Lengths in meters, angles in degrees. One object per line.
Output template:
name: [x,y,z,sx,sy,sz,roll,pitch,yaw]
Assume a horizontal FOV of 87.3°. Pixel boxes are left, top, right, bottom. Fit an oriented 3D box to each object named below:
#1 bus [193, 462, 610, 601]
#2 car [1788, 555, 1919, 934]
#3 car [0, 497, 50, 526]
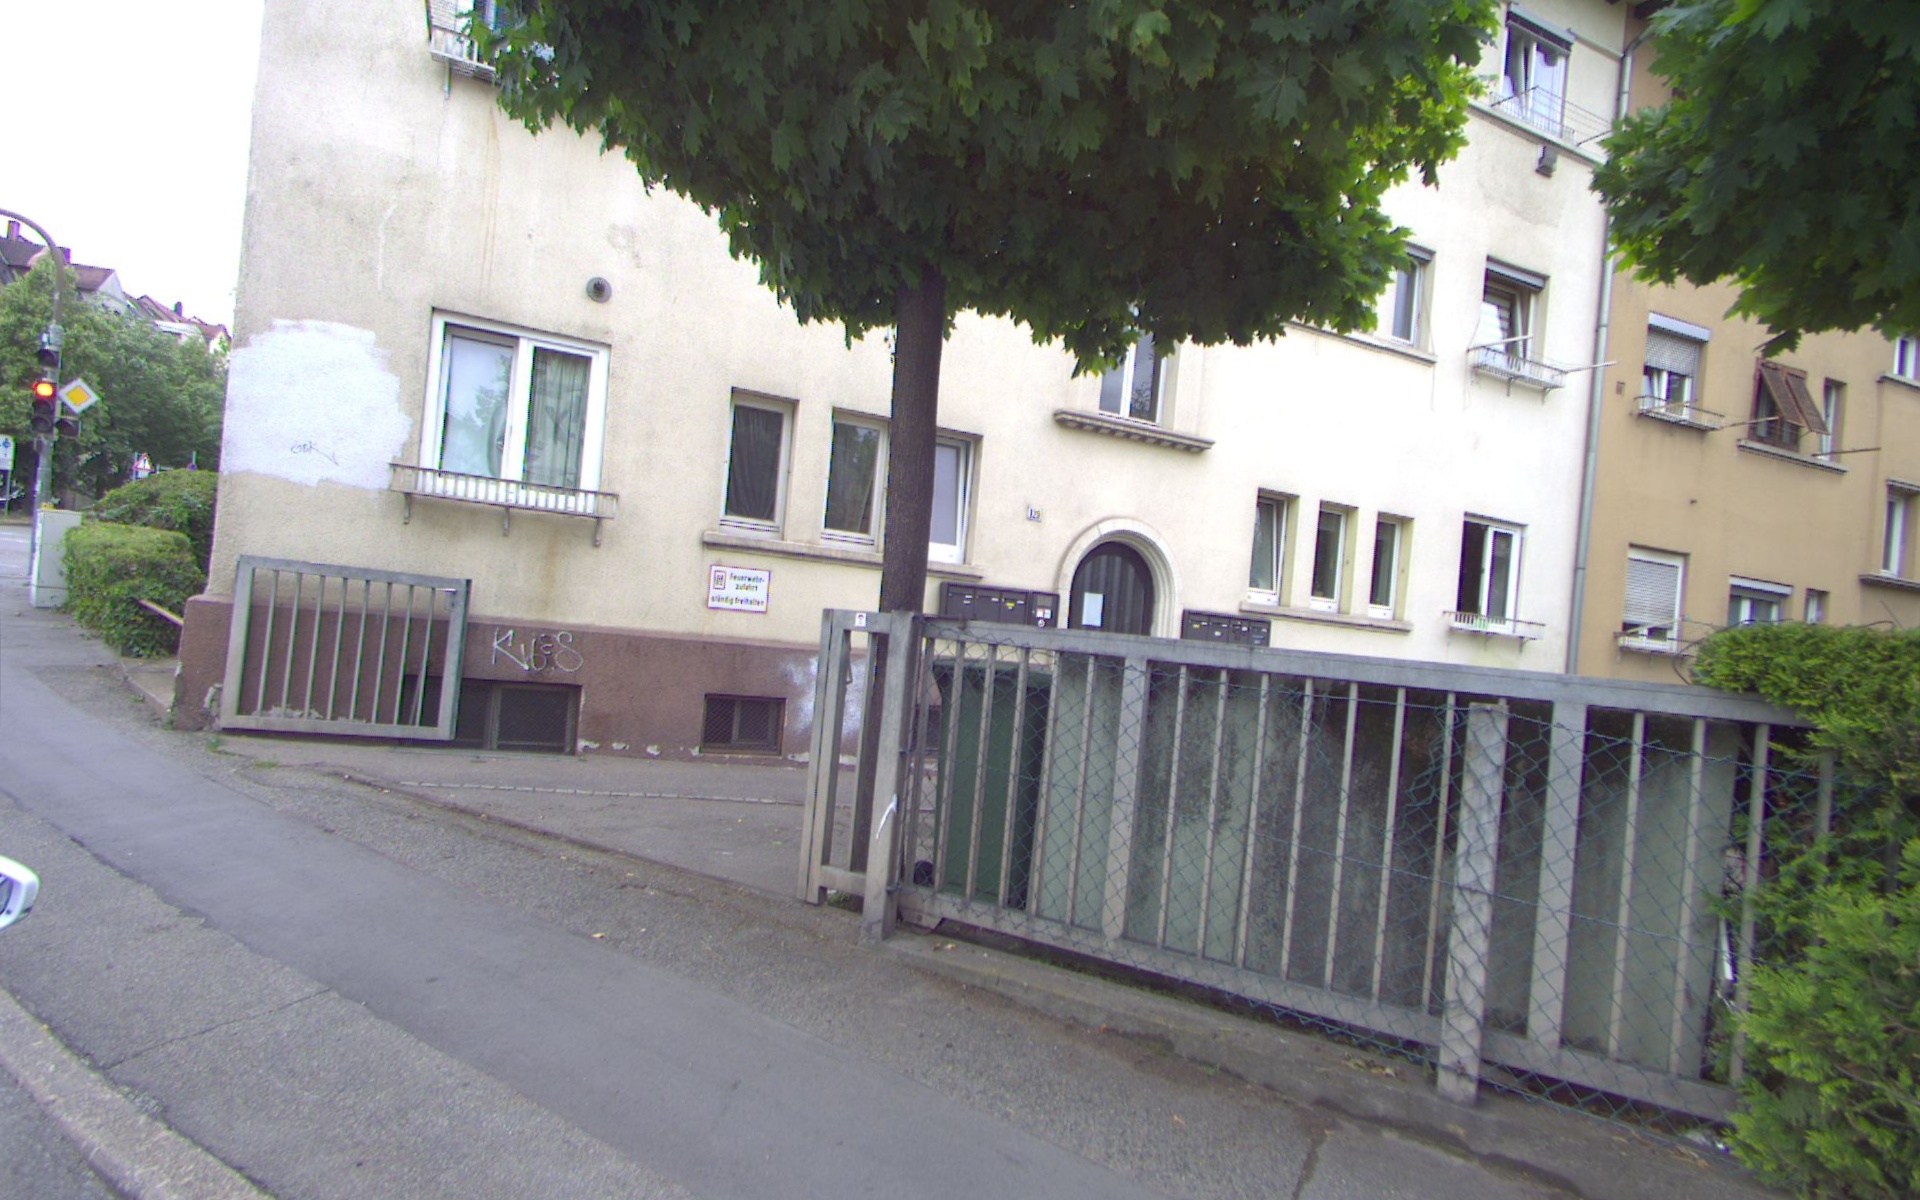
bus: [-18.603,-2.182,34.310,11.935,3.135,3.164,6,0,-6]
car: [5.553,0.779,3.790,3.381,1.477,1.700,6,-2,30]
car: [-60.702,-5.752,64.230,1.848,1.432,4.684,8,-2,-17]
